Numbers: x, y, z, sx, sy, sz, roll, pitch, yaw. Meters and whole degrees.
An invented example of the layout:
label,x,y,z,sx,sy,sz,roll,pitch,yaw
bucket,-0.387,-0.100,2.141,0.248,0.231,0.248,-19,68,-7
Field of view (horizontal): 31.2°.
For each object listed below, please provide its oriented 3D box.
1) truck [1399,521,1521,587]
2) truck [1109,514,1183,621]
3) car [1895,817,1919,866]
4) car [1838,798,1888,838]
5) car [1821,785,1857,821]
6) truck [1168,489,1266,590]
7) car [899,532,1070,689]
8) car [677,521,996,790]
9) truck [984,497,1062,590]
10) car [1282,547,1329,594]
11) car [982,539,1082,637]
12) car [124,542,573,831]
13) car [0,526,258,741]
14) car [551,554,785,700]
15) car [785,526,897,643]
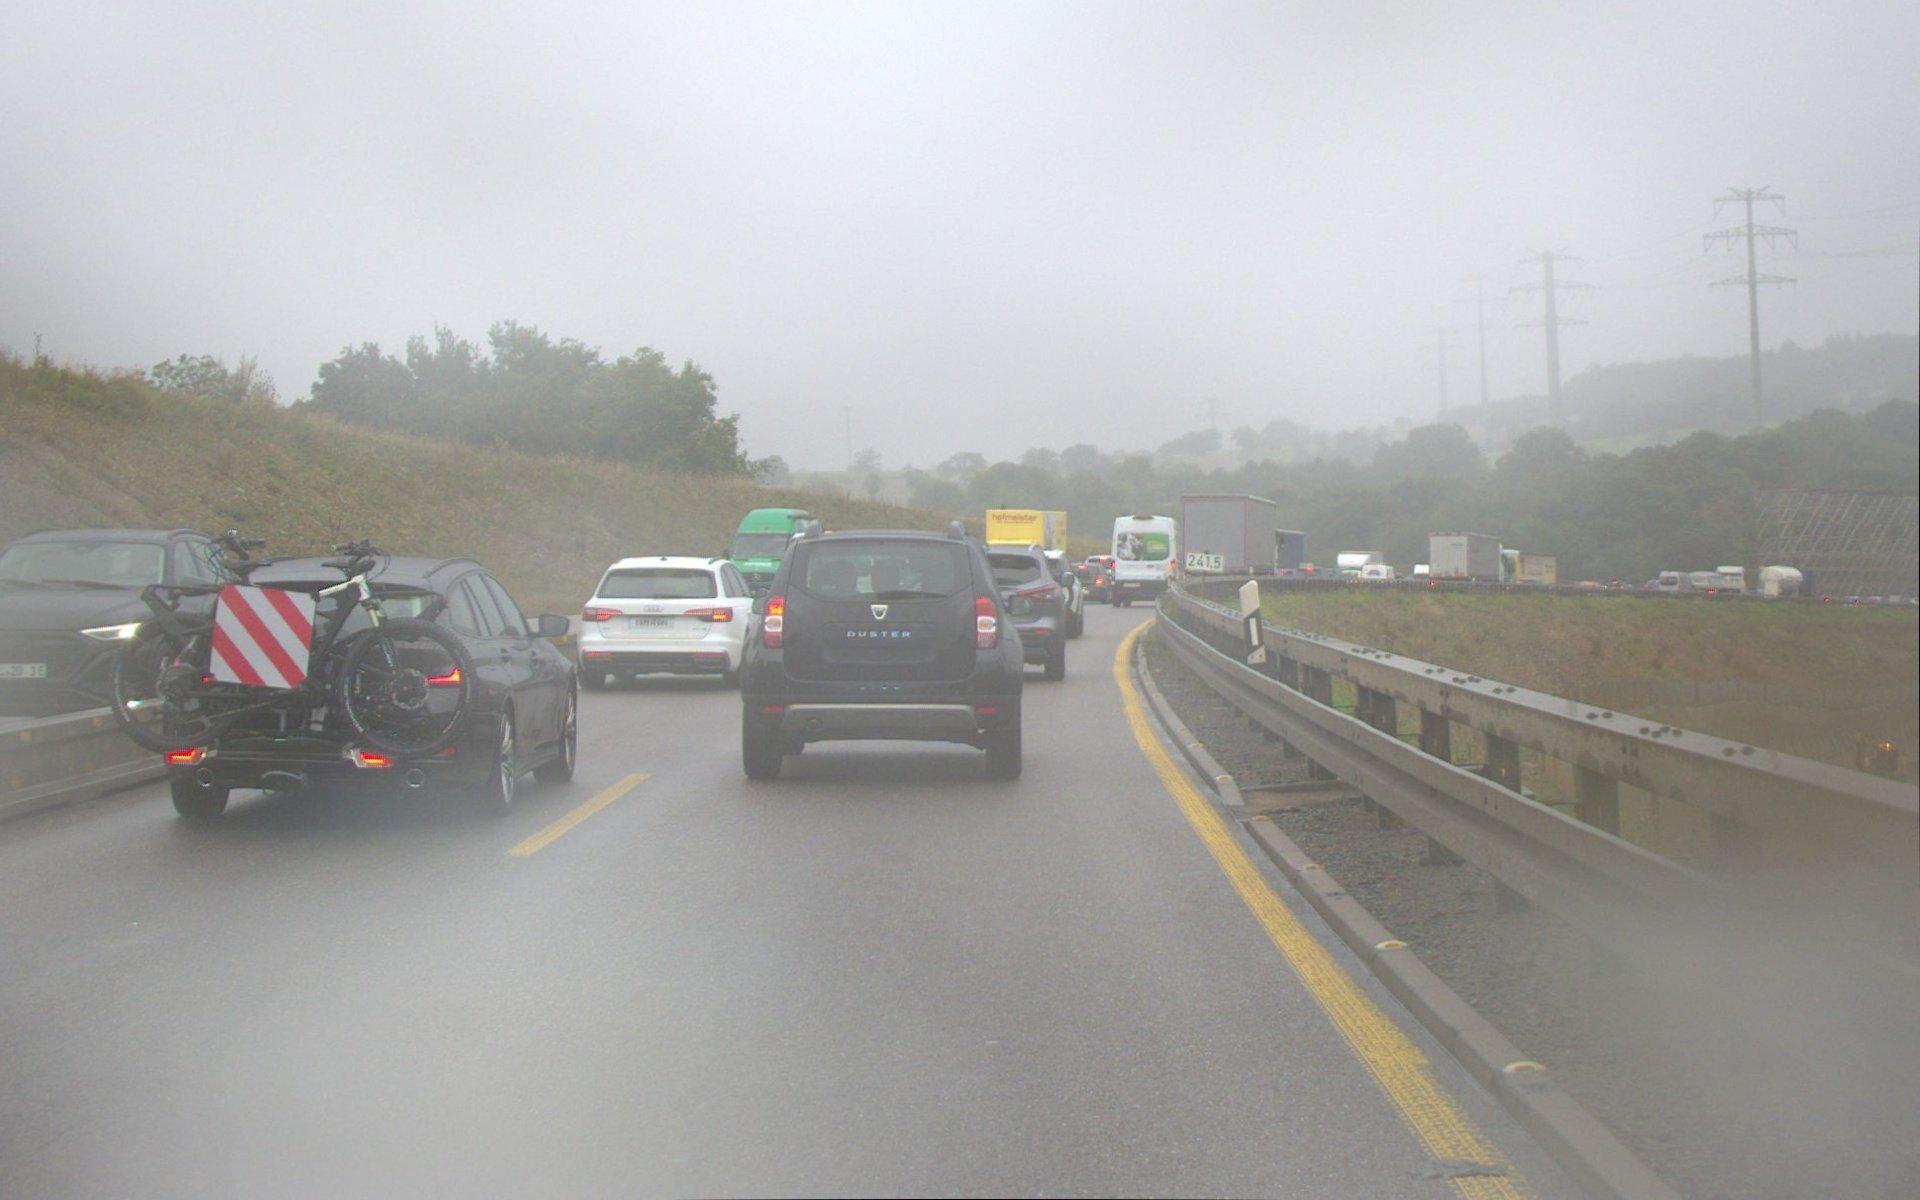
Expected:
label,x,y,z,sx,sy,sz,roll,pitch,yaw
truck,33.514,-3.008,229.560,4.722,4.135,15.666,2,1,21
truck,5.823,-1.027,107.052,2.149,3.155,6.459,1,1,3
car,46.337,11.584,164.441,2.365,2.007,3.999,2,1,5
car,47.892,11.548,182.375,1.994,1.809,3.999,1,0,7
car,58.745,13.557,229.736,1.995,2.007,3.997,2,1,18
truck,10.092,-2.347,134.237,3.201,3.748,8.507,2,1,8
car,0.323,0.087,40.251,1.867,1.702,4.000,1,1,1
car,-0.745,0.319,23.056,1.804,1.640,3.776,0,1,3
truck,2.849,-2.512,153.376,2.769,3.983,8.421,1,1,5
car,14.603,-1.254,145.086,1.775,1.909,3.999,2,1,8
car,1.242,-0.237,60.781,1.530,1.635,4.013,1,1,-2
car,-3.349,0.424,19.515,1.829,1.471,3.776,0,1,1
car,-7.149,0.221,28.134,1.811,1.587,4.902,-1,1,-1
car,-3.123,0.246,37.645,1.868,1.455,4.548,1,1,4
car,-1.989,-0.287,58.340,1.660,1.873,4.020,1,1,1
